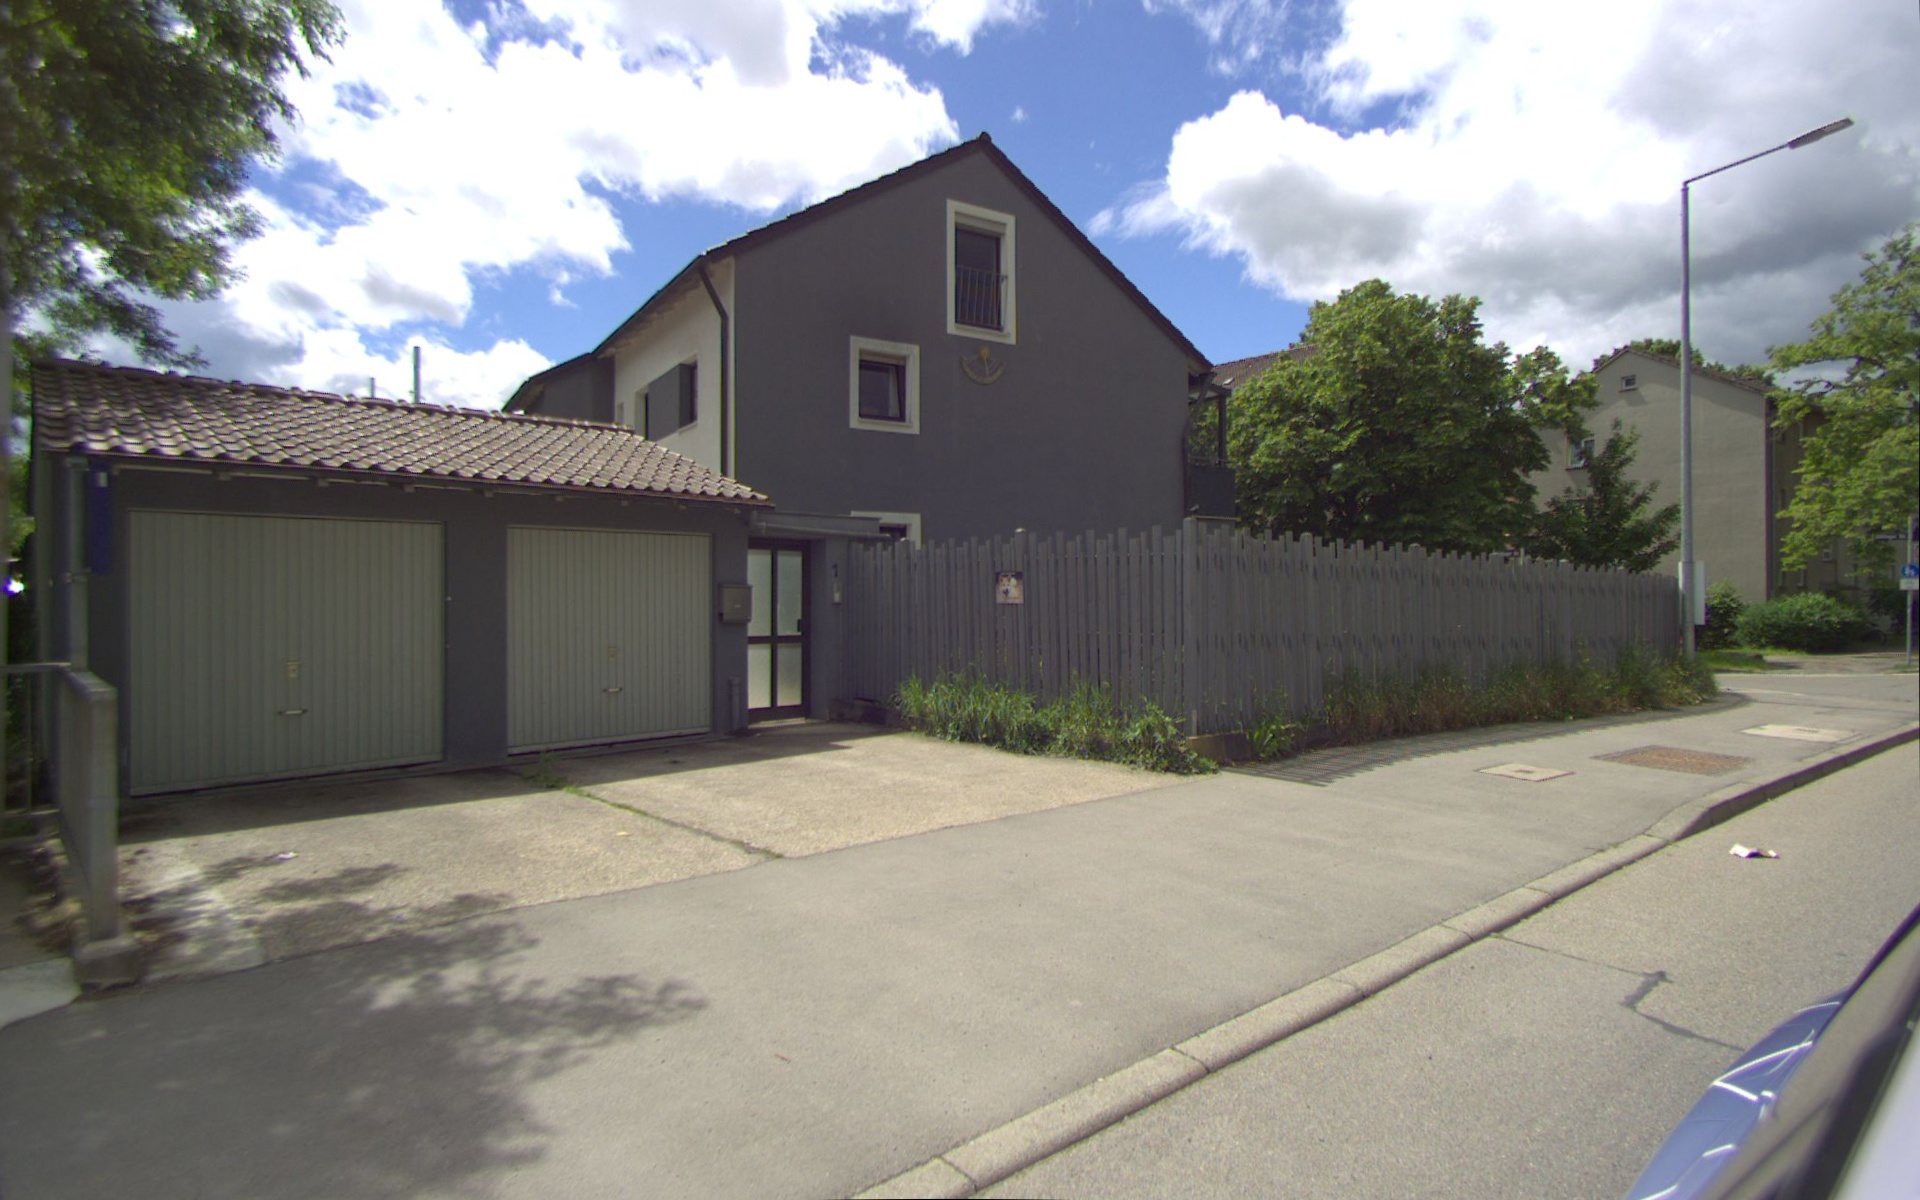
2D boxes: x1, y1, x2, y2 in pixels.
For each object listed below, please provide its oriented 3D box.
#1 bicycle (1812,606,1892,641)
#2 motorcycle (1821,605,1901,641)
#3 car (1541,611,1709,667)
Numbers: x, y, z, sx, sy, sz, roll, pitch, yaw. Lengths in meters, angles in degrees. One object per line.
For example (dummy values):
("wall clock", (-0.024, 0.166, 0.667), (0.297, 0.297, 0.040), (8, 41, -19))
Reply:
("bicycle", (34.031, 0.874, 38.643), (0.667, 1.298, 2.176), (0, 0, -30))
("motorcycle", (34.717, 0.868, 39.022), (0.667, 1.298, 2.214), (0, 0, -30))
("car", (20.260, 1.149, 30.924), (3.987, 1.574, 1.908), (-1, -2, 44))
